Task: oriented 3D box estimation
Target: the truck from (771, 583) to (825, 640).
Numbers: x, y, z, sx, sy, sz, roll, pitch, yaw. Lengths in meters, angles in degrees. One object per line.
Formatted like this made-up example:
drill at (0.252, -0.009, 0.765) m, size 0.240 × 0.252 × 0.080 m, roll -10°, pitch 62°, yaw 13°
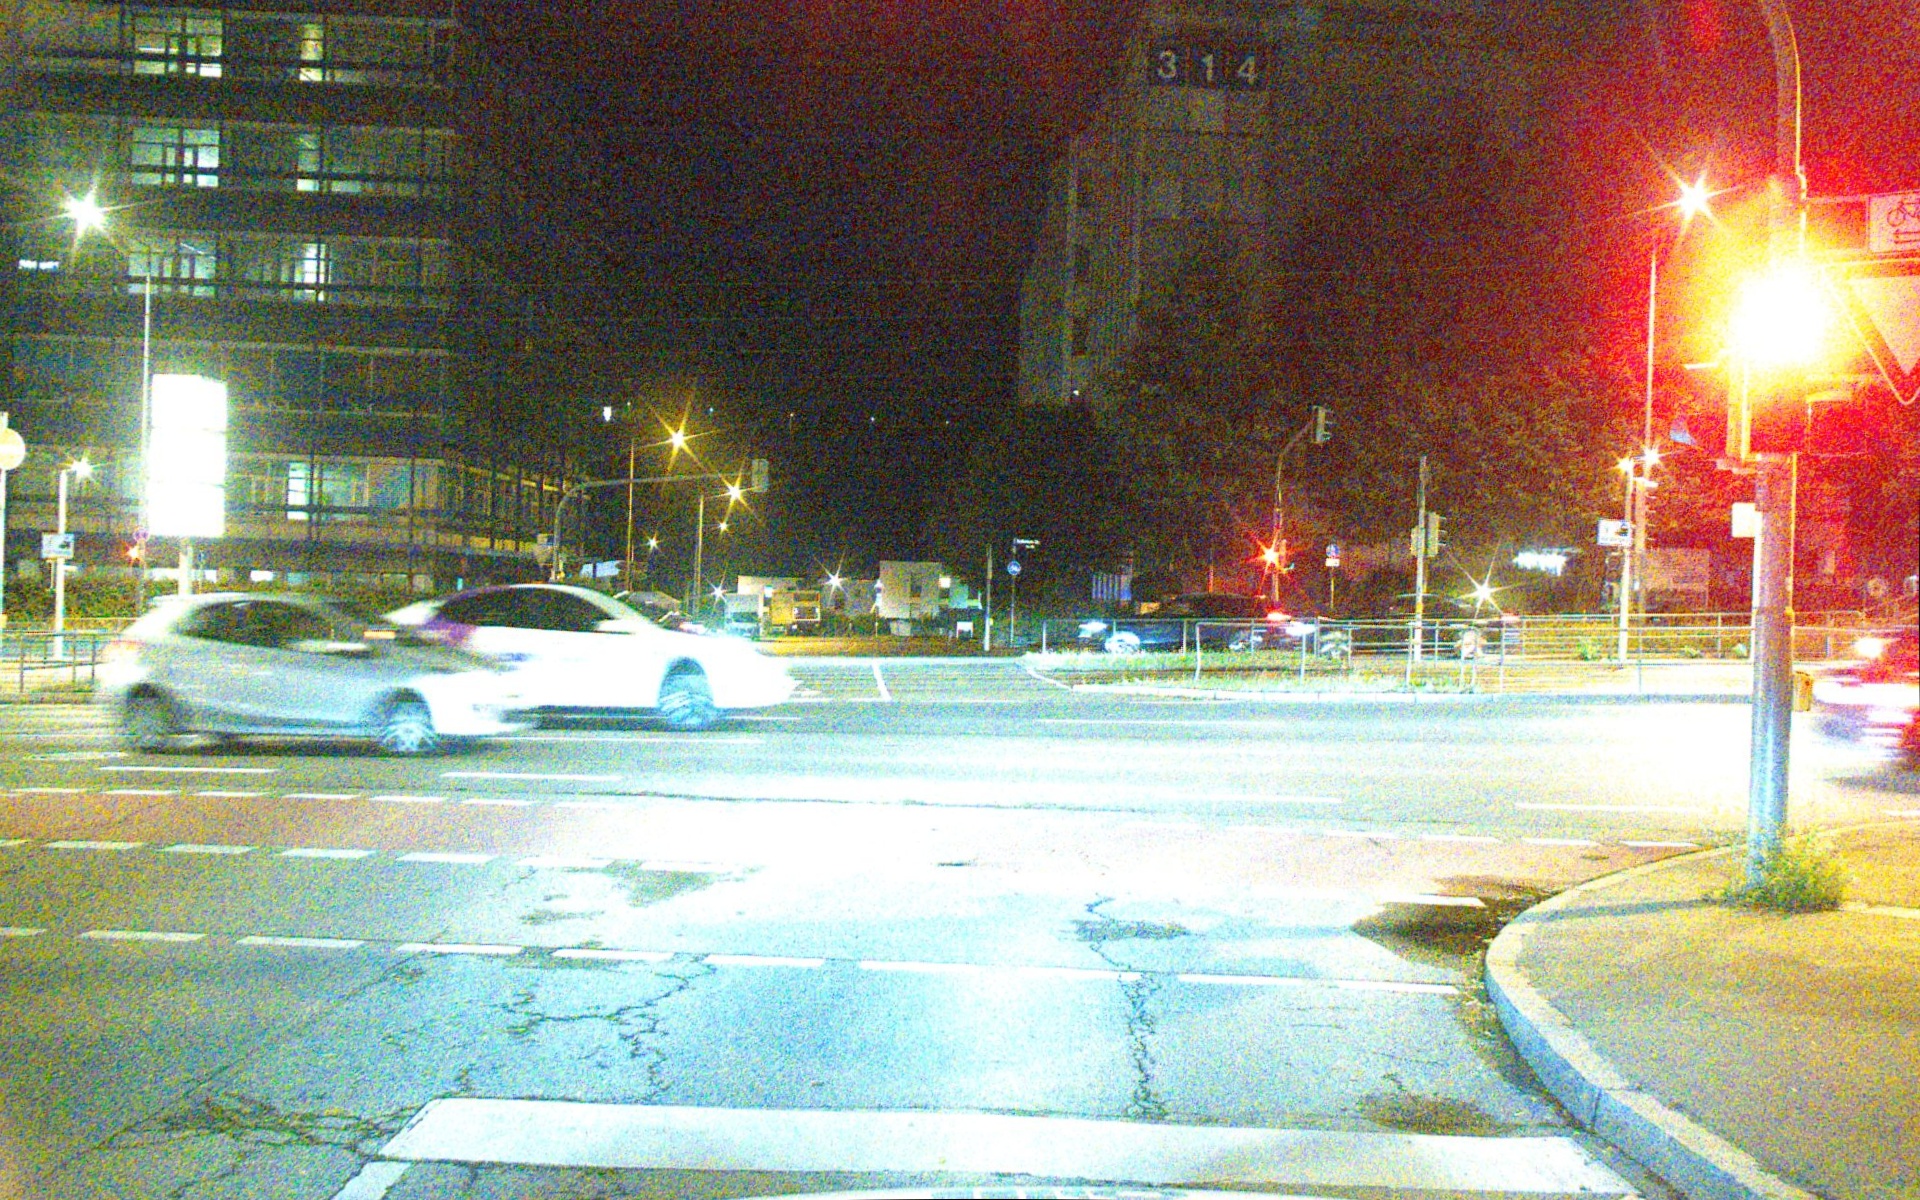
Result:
truck at (-14.628, 1.024, 148.601) m, size 3.307 × 4.927 × 7.868 m, roll 2°, pitch -1°, yaw -17°

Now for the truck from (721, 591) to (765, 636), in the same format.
truck at (-15.728, 0.980, 119.391) m, size 2.377 × 3.143 × 6.414 m, roll 2°, pitch -1°, yaw -14°

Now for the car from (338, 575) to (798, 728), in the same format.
car at (-4.403, 0.557, 19.021) m, size 4.818 × 1.626 × 1.745 m, roll -1°, pitch 1°, yaw 2°

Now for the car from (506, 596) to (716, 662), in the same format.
car at (-7.889, 0.650, 37.634) m, size 4.335 × 1.445 × 1.851 m, roll -1°, pitch 0°, yaw 3°

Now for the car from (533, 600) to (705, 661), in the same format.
car at (-8.350, 0.742, 40.695) m, size 3.790 × 1.429 × 1.769 m, roll -1°, pitch 0°, yaw 3°

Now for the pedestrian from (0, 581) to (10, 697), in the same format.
pedestrian at (-14.899, 0.580, 24.938) m, size 0.663 × 1.752 × 0.706 m, roll 1°, pitch -1°, yaw 24°

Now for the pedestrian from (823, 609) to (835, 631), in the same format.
pedestrian at (-11.710, 1.810, 147.422) m, size 0.836 × 1.945 × 1.001 m, roll 2°, pitch -1°, yaw -18°

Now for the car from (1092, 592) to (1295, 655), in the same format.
car at (5.602, 0.562, 40.132) m, size 4.718 × 1.445 × 1.851 m, roll -1°, pitch 0°, yaw 3°

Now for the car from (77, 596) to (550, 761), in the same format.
car at (-6.077, 0.706, 15.841) m, size 3.820 × 1.462 × 1.745 m, roll 0°, pitch 1°, yaw 2°

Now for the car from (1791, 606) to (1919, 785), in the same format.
car at (10.354, 0.817, 14.919) m, size 4.818 × 1.499 × 1.745 m, roll 0°, pitch 1°, yaw 2°

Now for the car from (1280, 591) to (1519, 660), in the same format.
car at (9.687, 0.566, 36.735) m, size 4.838 × 1.445 × 1.851 m, roll -1°, pitch 0°, yaw 3°
